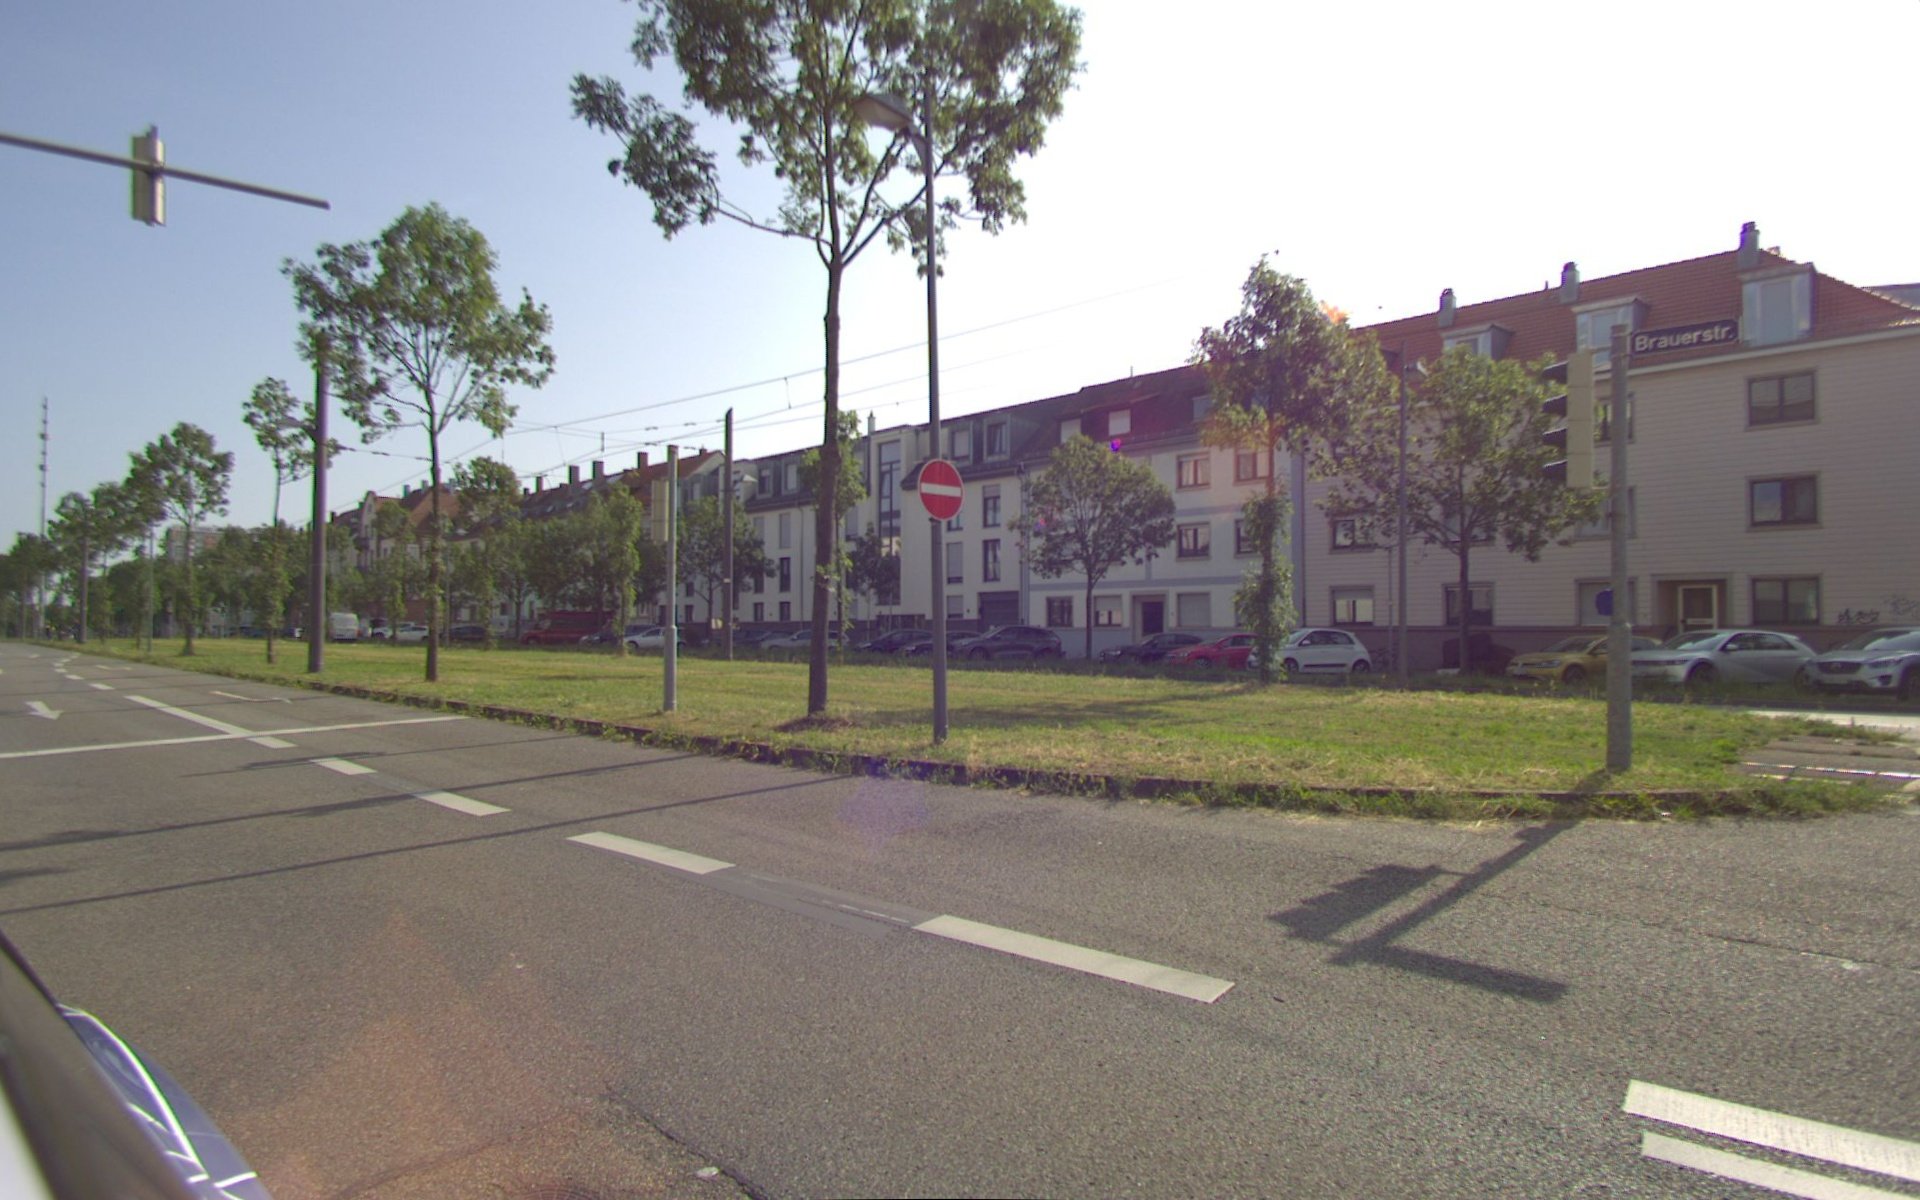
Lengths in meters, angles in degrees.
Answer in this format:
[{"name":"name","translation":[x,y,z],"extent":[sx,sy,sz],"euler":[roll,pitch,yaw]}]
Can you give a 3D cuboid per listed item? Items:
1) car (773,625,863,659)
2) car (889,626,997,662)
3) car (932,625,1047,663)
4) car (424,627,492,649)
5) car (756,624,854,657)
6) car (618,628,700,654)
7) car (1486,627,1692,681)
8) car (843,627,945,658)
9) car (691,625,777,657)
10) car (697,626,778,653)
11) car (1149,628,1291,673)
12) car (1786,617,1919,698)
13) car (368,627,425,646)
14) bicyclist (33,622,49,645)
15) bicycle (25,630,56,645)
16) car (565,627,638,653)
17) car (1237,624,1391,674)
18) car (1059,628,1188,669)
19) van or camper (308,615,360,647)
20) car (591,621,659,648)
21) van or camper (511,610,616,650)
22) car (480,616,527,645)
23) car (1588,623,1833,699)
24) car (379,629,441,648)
[{"name":"car","translation":[-6.438,1.858,45.843],"extent":[3.715,1.386,1.670],"euler":[-1,0,-20]},{"name":"car","translation":[-0.710,1.767,41.100],"extent":[3.931,1.298,2.006],"euler":[-1,0,-20]},{"name":"car","translation":[1.117,1.658,39.067],"extent":[3.989,1.298,2.006],"euler":[-1,0,-19]},{"name":"car","translation":[-38.368,2.886,77.439],"extent":[4.282,1.541,2.003],"euler":[-1,0,-7]},{"name":"car","translation":[-7.408,1.890,48.274],"extent":[4.265,1.386,2.006],"euler":[-1,0,-20]},{"name":"car","translation":[-16.966,2.286,57.160],"extent":[4.326,1.330,1.738],"euler":[-1,-1,-13]},{"name":"car","translation":[15.783,1.335,25.525],"extent":[3.939,1.187,2.002],"euler":[-1,0,-5]},{"name":"car","translation":[-2.833,1.794,43.157],"extent":[3.931,1.298,2.006],"euler":[1,-2,-20]},{"name":"car","translation":[-11.234,2.013,50.250],"extent":[3.931,1.386,1.933],"euler":[-1,0,-19]},{"name":"car","translation":[-11.572,2.061,52.666],"extent":[3.931,1.386,1.841],"euler":[1,-2,-19]},{"name":"car","translation":[8.290,1.580,32.344],"extent":[3.933,1.268,1.881],"euler":[-1,0,-13]},{"name":"car","translation":[19.864,1.124,21.001],"extent":[4.281,1.474,1.968],"euler":[-1,0,-13]},{"name":"car","translation":[-49.218,3.207,88.458],"extent":[4.033,1.541,1.816],"euler":[-1,0,-9]},{"name":"bicyclist","translation":[-72.583,2.633,79.952],"extent":[0.858,1.836,0.909],"euler":[2,-3,-45]},{"name":"bicycle","translation":[-72.643,2.984,79.958],"extent":[0.577,1.154,1.727],"euler":[-2,-3,44]},{"name":"car","translation":[-21.755,2.431,61.558],"extent":[3.935,1.431,1.786],"euler":[-1,0,-11]},{"name":"car","translation":[10.546,1.427,30.199],"extent":[3.932,1.279,1.892],"euler":[-1,0,-16]},{"name":"car","translation":[5.557,1.623,34.559],"extent":[3.933,1.244,1.704],"euler":[-1,0,-13]},{"name":"van or camper","translation":[-51.828,2.570,83.756],"extent":[6.060,2.493,2.117],"euler":[-1,-4,44]},{"name":"car","translation":[-19.564,1.991,59.267],"extent":[3.659,1.445,1.646],"euler":[-1,-1,-13]},{"name":"van or camper","translation":[-25.955,1.973,66.518],"extent":[6.063,2.566,2.418],"euler":[0,-1,-8]},{"name":"car","translation":[-40.788,2.750,90.299],"extent":[1.970,2.482,5.581],"euler":[2,-3,-45]},{"name":"car","translation":[17.250,1.352,23.369],"extent":[4.392,1.526,2.004],"euler":[-1,0,-10]},{"name":"car","translation":[-46.958,3.275,86.516],"extent":[4.297,1.486,1.861],"euler":[-1,0,-9]}]
